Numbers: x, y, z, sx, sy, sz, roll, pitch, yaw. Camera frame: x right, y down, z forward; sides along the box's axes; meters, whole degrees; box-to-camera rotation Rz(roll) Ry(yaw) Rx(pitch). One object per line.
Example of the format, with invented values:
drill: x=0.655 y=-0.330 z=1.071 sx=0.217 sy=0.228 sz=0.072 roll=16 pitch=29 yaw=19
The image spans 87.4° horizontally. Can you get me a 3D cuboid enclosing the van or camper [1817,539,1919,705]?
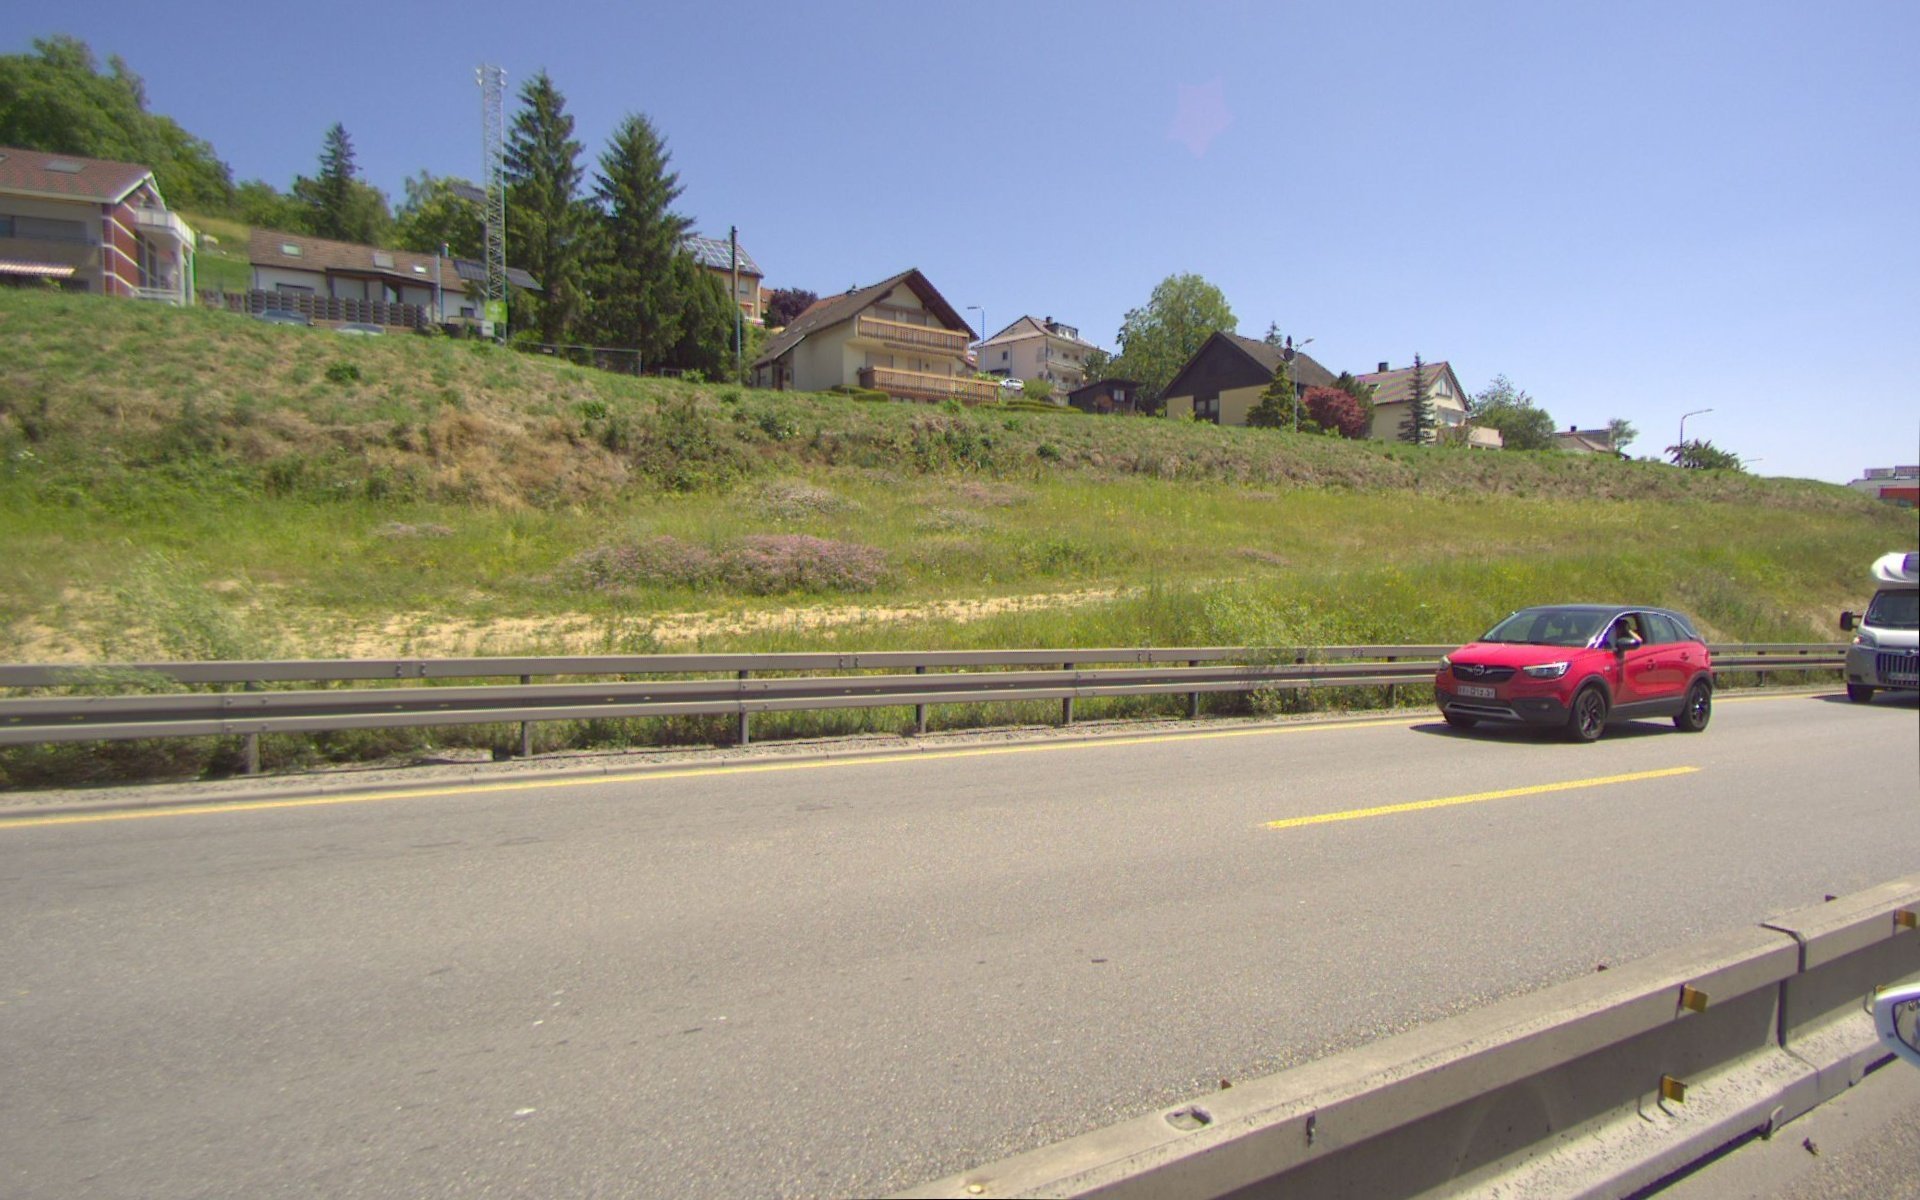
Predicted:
van or camper: x=19.322 y=0.436 z=19.095 sx=7.430 sy=2.814 sz=2.323 roll=1 pitch=0 yaw=-31

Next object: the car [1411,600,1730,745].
car: x=7.846 y=0.832 z=12.819 sx=4.215 sy=1.572 sz=1.708 roll=1 pitch=0 yaw=-31
